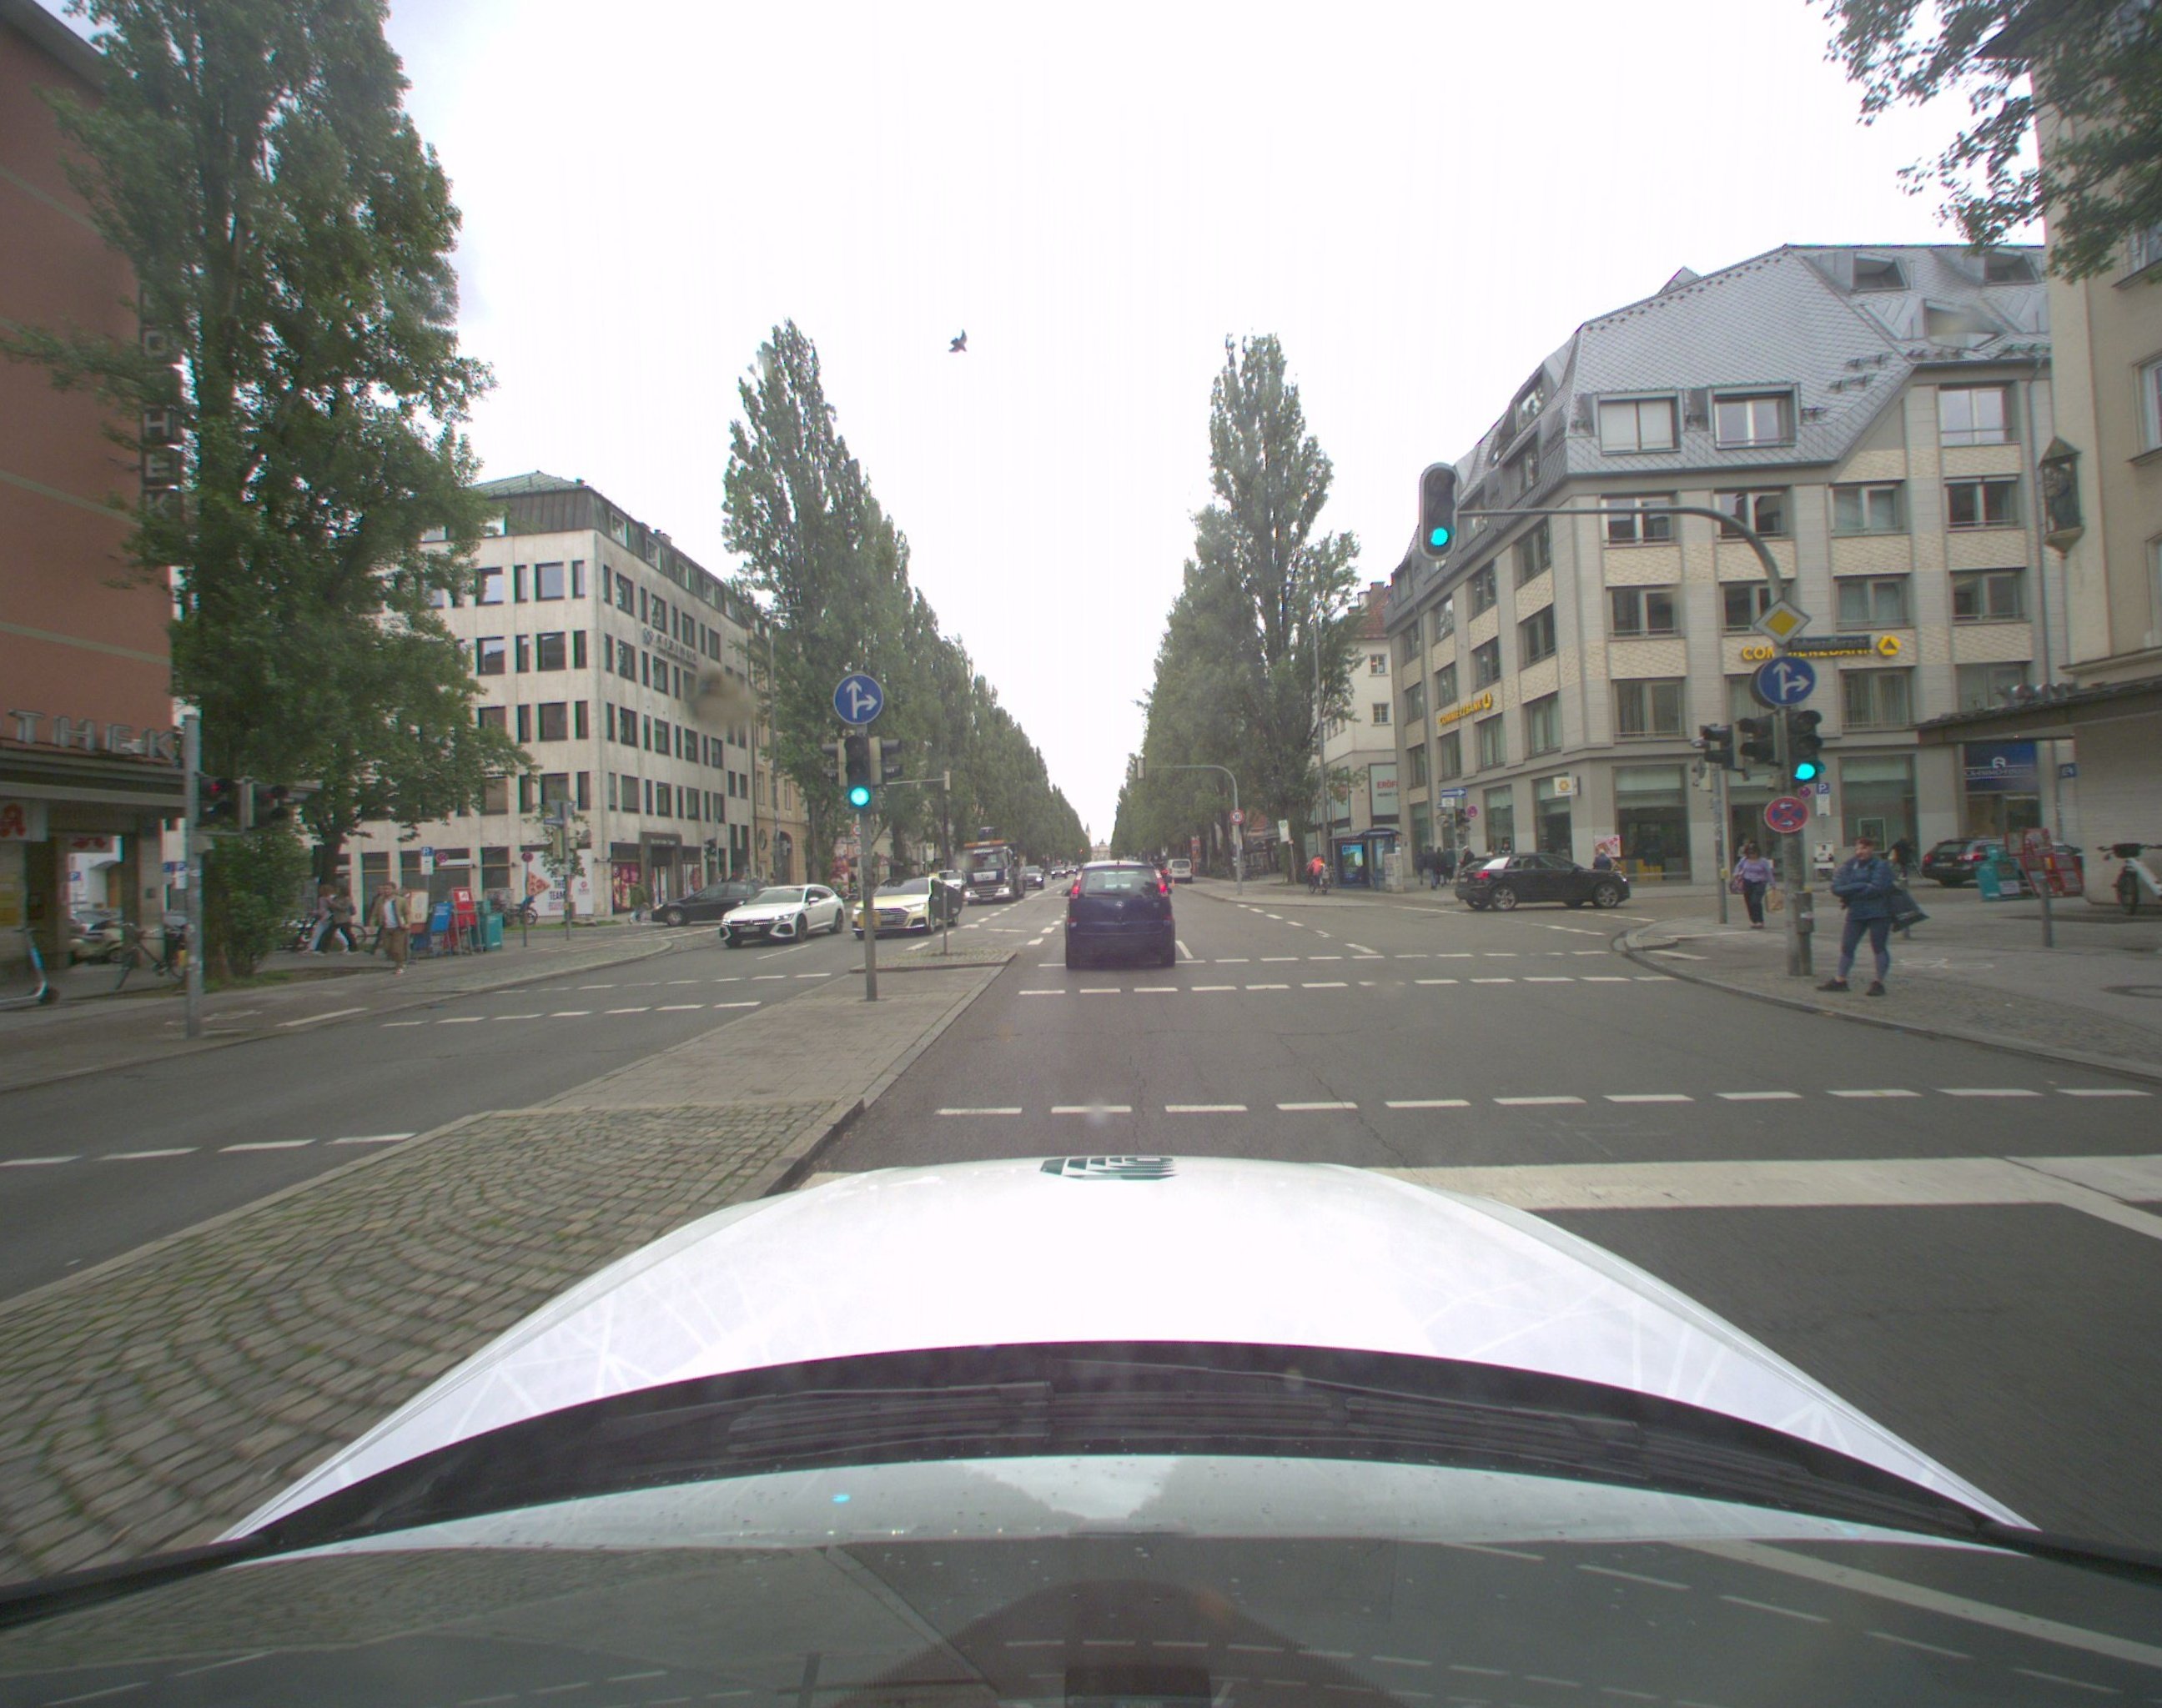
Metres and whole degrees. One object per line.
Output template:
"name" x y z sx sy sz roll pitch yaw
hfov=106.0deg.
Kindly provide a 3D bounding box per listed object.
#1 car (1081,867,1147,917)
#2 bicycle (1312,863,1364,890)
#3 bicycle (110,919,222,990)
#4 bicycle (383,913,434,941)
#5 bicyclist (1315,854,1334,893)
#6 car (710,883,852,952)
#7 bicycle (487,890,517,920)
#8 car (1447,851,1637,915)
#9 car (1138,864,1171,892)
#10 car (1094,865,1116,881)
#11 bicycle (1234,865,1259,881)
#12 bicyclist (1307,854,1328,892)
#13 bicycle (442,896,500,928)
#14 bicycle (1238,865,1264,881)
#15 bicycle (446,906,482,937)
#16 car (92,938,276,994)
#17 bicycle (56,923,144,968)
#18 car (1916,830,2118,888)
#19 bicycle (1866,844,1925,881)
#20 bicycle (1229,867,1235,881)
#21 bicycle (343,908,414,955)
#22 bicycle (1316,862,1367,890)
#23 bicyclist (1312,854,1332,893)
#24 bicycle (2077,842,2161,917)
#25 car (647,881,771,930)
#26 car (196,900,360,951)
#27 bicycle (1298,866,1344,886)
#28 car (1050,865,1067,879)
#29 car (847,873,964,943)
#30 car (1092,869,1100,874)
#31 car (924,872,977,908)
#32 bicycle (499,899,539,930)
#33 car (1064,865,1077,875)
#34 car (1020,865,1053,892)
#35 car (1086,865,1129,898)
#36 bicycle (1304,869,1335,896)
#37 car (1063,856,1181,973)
"car" 1.061 1.218 27.571 1.987 1.497 4.000 -2 -1 1
"bicycle" 12.770 1.114 40.466 2.335 1.252 0.633 -2 -1 1
"bicycle" -16.503 1.787 14.728 0.419 1.141 1.374 -2 -1 2
"bicycle" -27.263 2.964 33.016 2.043 1.048 0.418 -2 -1 12
"bicyclist" 10.162 0.806 33.955 0.619 1.588 0.391 -3 -1 0
"car" -7.602 1.557 21.168 1.816 1.408 4.633 -3 -1 1
"bicycle" -24.576 2.131 34.606 0.416 1.184 1.996 -2 -1 -18
"car" 12.082 0.743 21.568 3.969 1.461 1.761 -2 -1 4
"car" 4.436 1.459 49.740 1.700 1.574 4.000 -2 -2 1
"car" 2.314 1.844 79.542 1.987 1.497 4.000 -2 -1 1
"bicycle" 12.058 1.359 59.284 1.737 1.110 0.447 -2 -1 -9
"bicyclist" 10.183 0.833 35.132 0.619 1.588 0.753 -3 -1 1
"bicycle" -25.534 2.415 34.127 0.412 1.184 2.073 -2 -1 18
"bicycle" 12.200 1.371 58.582 1.758 1.044 0.482 -2 -1 -11
"bicycle" -26.503 2.889 35.025 0.450 1.184 2.053 -2 -1 -14
"car" -26.556 3.286 24.174 3.962 1.420 1.786 -1 -1 10
"bicycle" -26.808 2.492 22.262 2.044 1.184 0.539 -1 -2 9
"car" 28.323 0.156 24.746 3.971 1.549 1.760 -2 -1 2
"bicycle" 27.992 0.300 27.993 1.737 1.212 0.447 -2 -1 -9
"bicycle" 11.871 1.587 64.104 0.362 1.038 1.735 -2 -1 9
"bicycle" -20.480 2.229 23.798 0.414 1.184 2.059 -2 -1 -5
"bicycle" 12.718 1.077 39.741 2.307 1.252 0.477 -2 -1 1
"bicyclist" 10.166 0.816 34.372 0.619 1.588 0.481 -3 -1 0
"bicycle" 17.258 0.403 13.016 0.433 1.171 1.811 -1 -1 0
"car" -12.917 1.758 28.485 3.701 1.475 1.762 -2 -1 -18
"car" -26.080 2.311 26.509 3.962 1.420 1.786 -2 -1 10
"bicycle" 12.690 1.159 43.123 2.140 1.017 0.874 -2 -1 1
"car" -2.878 2.296 104.644 1.906 1.681 4.587 -2 -1 1
"car" -4.482 1.334 21.586 1.837 1.502 4.987 -3 -1 1
"car" 4.201 4.876 225.666 1.955 1.399 3.779 -3 -1 1
"car" -6.932 1.876 43.727 1.830 1.716 4.638 -3 -1 2
"bicycle" -23.596 2.511 34.235 0.414 1.184 2.029 -2 -1 -5
"car" -1.780 2.802 141.235 1.928 1.623 4.337 -2 -1 1
"car" -3.152 1.702 58.072 1.877 1.746 4.441 -2 -1 2
"car" 1.282 1.325 40.278 1.987 1.497 4.000 -2 -1 1
"bicycle" 10.194 1.199 34.874 0.624 1.087 2.263 -3 -1 1
"car" 0.616 0.898 13.756 1.675 1.641 4.000 -1 -1 1
